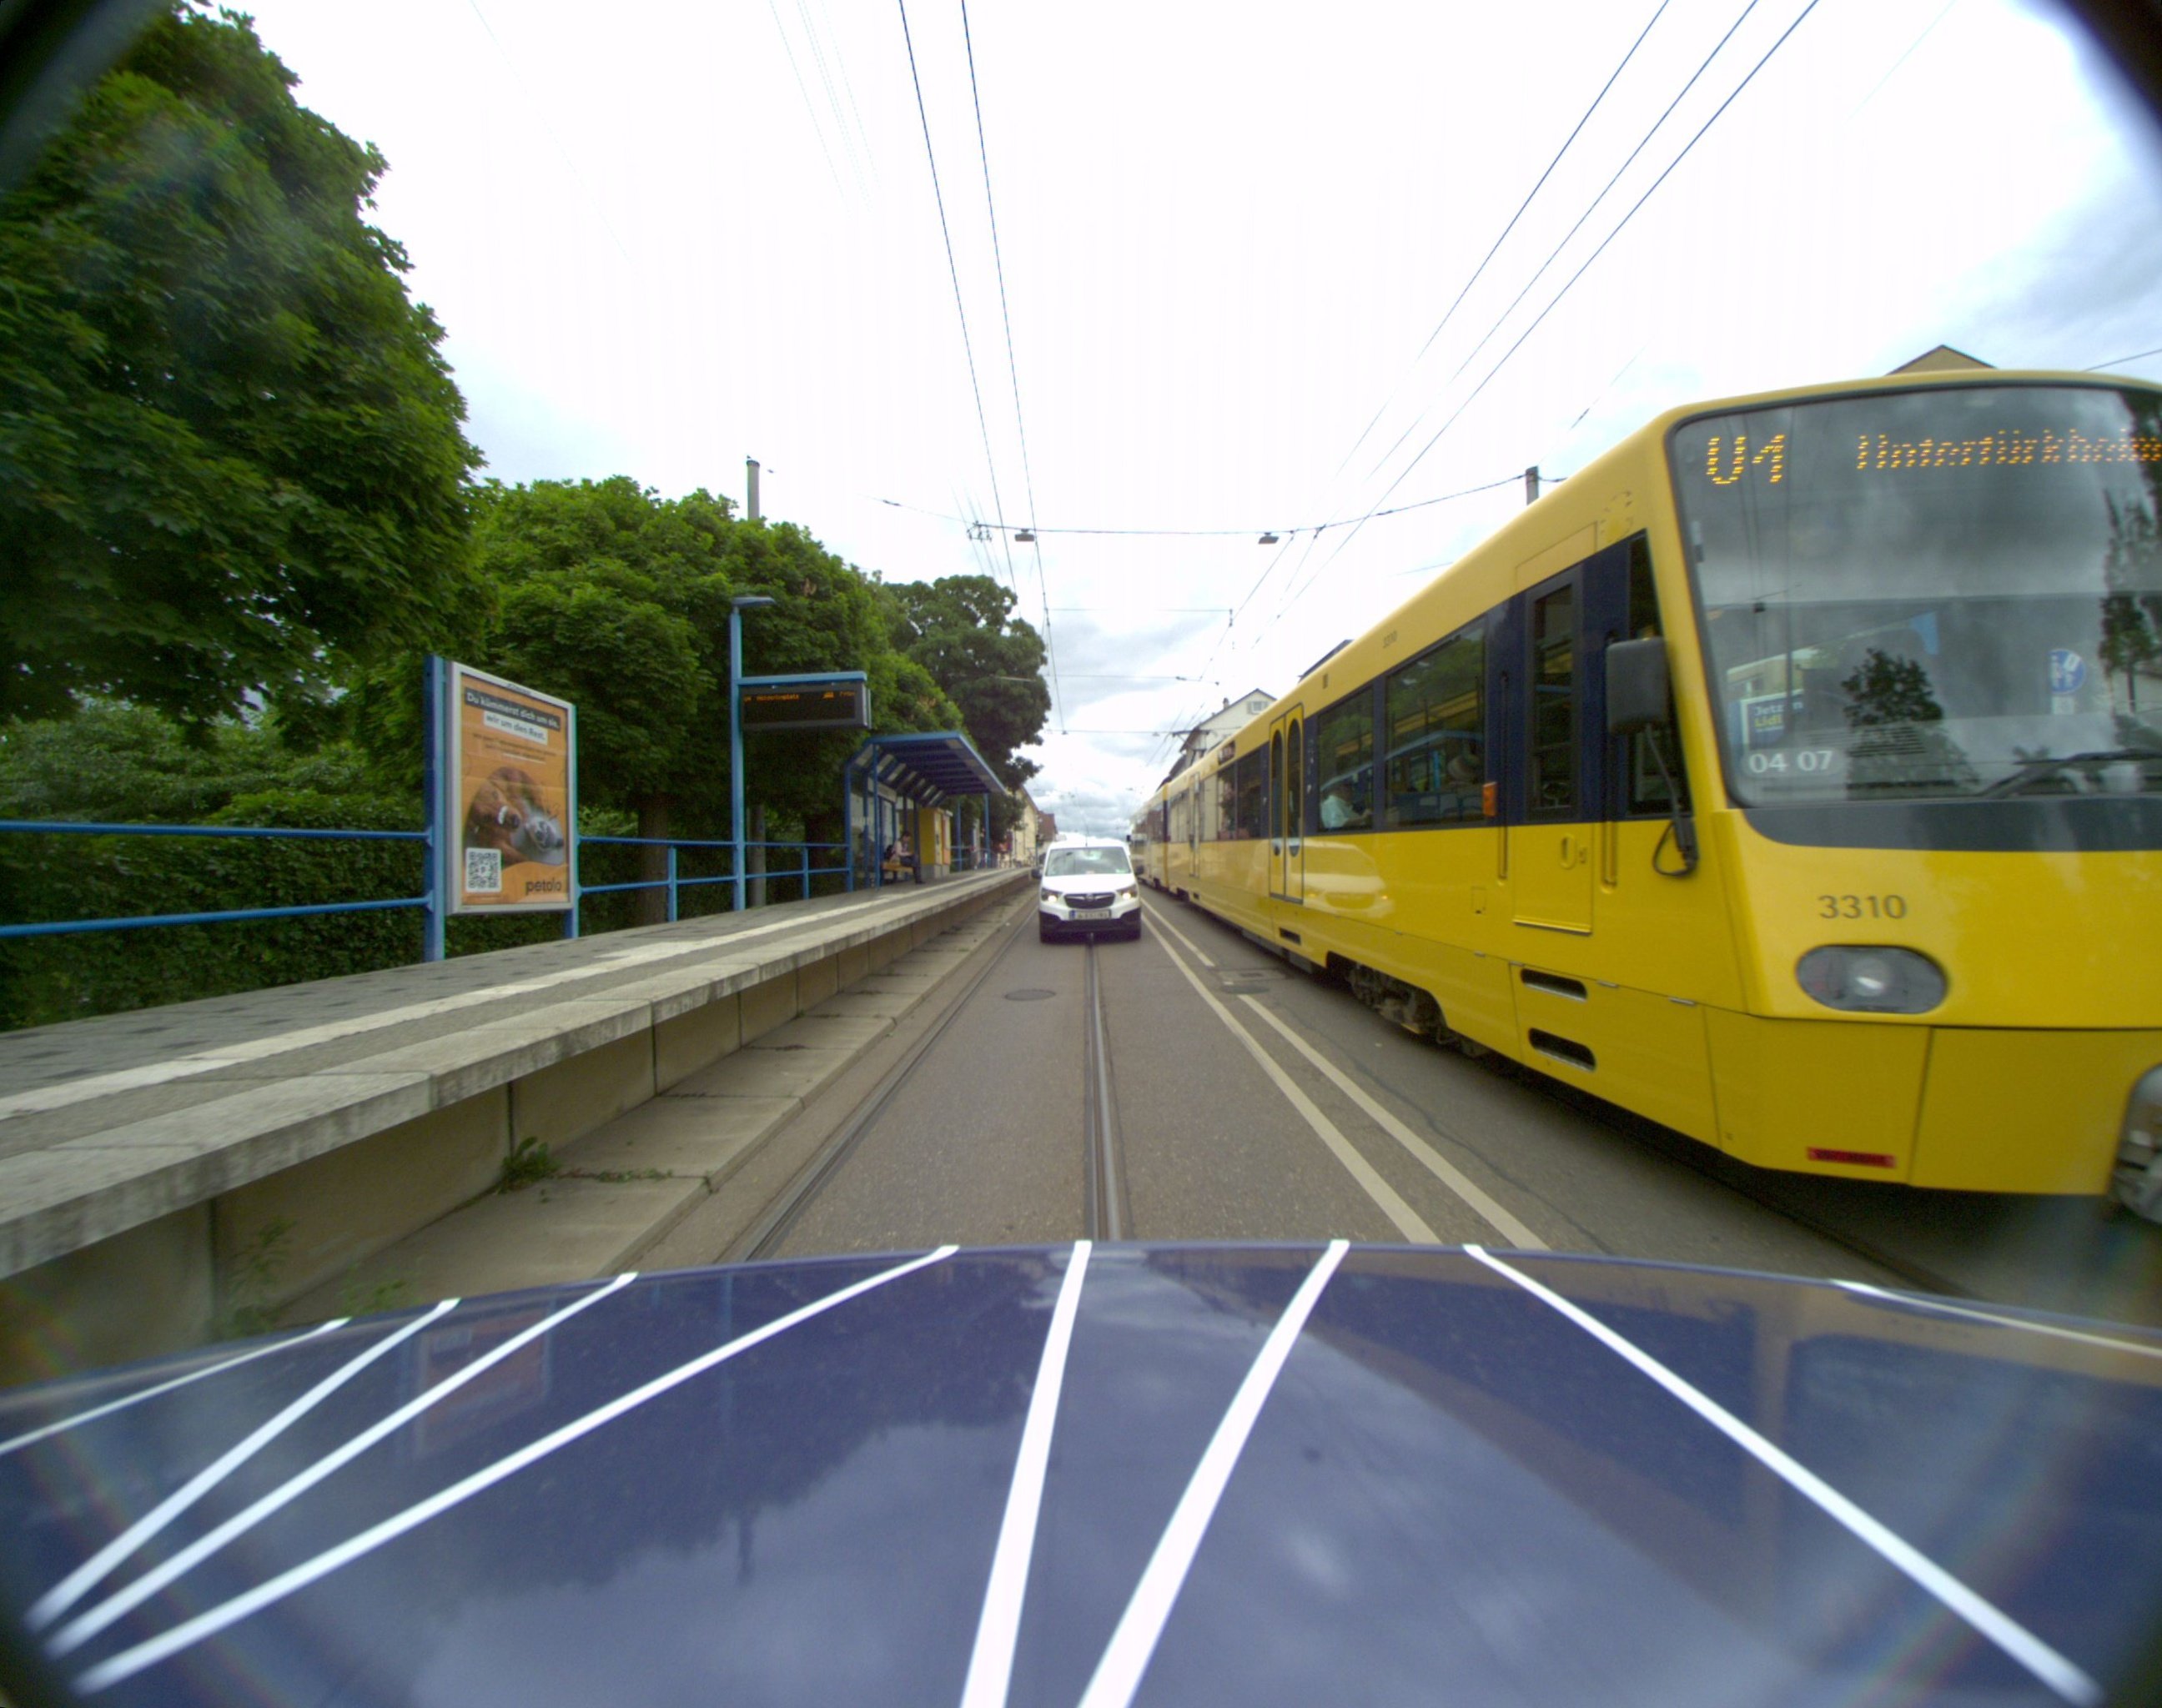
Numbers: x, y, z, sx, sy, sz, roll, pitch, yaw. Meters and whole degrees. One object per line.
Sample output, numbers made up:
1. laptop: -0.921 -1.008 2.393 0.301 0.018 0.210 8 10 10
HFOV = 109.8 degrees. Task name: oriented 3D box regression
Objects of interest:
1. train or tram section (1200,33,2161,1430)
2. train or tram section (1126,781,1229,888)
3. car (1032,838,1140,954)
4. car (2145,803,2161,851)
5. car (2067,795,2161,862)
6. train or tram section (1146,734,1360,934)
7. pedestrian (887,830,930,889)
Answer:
1. train or tram section: 3.637 -0.364 8.041 2.857 3.615 12.129 -2 0 1
2. train or tram section: 3.698 -0.695 32.300 2.758 3.615 12.128 -2 0 0
3. car: 0.150 0.694 14.743 1.730 1.850 4.421 -2 0 2
4. car: 33.536 -0.835 21.412 1.839 1.455 4.003 -2 0 10
5. car: 24.520 -0.599 16.716 1.838 1.455 4.006 -2 0 26
6. train or tram section: 3.713 -0.404 20.167 2.831 3.615 12.128 -2 0 0
7. pedestrian: -3.973 0.114 17.524 0.781 1.307 0.657 -2 1 1
